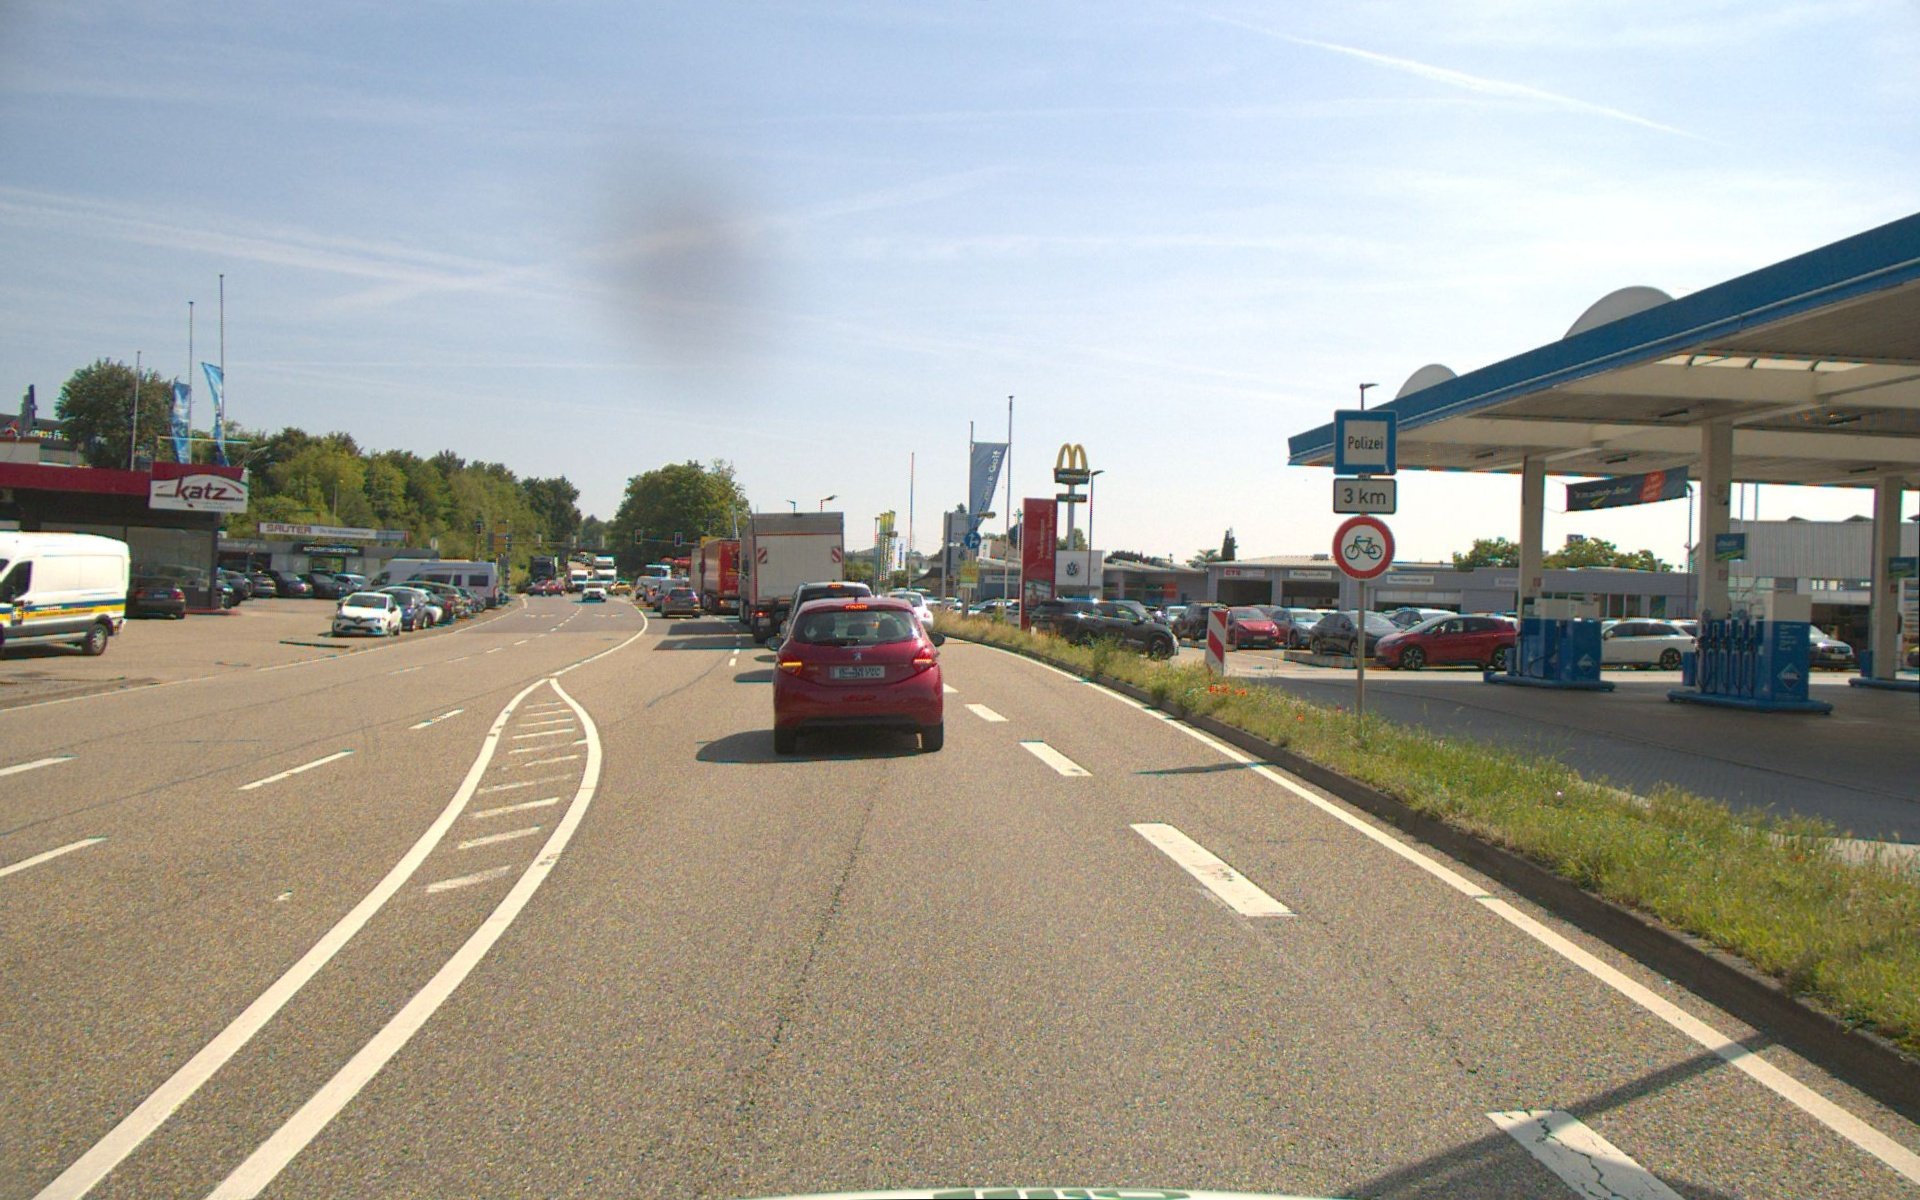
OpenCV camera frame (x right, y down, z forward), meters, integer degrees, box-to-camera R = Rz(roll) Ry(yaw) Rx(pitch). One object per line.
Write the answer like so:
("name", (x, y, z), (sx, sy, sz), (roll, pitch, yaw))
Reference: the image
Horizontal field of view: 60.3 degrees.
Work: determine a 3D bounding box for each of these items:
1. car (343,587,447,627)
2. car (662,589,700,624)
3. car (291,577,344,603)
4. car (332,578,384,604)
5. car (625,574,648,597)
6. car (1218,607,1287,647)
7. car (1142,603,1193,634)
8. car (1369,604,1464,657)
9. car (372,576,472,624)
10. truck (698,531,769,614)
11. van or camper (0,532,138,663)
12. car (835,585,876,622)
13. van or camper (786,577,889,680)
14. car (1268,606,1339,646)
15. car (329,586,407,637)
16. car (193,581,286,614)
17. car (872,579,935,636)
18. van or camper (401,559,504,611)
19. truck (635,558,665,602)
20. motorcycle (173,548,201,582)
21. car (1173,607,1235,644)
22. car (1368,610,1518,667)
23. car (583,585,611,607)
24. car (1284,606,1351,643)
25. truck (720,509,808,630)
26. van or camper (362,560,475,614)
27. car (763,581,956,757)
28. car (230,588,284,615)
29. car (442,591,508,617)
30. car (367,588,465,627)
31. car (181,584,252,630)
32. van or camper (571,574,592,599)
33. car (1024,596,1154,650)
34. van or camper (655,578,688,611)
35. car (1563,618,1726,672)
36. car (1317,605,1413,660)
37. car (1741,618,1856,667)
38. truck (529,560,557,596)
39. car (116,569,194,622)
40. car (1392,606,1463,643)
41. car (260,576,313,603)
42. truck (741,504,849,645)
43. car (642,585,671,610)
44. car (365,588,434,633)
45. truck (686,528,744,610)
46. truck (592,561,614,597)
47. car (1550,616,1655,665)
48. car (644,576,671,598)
("car", (-22.410, 0.258, 65.744), (3.731, 1.552, 1.840), (0, 1, -14))
("car", (-13.604, 0.286, 80.652), (1.757, 1.667, 3.497), (0, 0, -9))
("car", (-40.476, -0.642, 104.158), (1.756, 1.616, 3.766), (0, 1, -45))
("car", (-38.601, -0.593, 105.948), (1.756, 1.616, 3.766), (0, 1, -45))
("car", (-27.544, -1.230, 140.926), (1.695, 1.942, 3.305), (1, 0, -9))
("car", (11.251, 1.029, 63.717), (1.529, 1.434, 3.588), (-1, 0, -9))
("car", (10.160, 0.887, 81.217), (1.529, 1.434, 3.588), (-1, 0, -9))
("car", (14.778, 0.954, 53.767), (1.529, 1.622, 3.853), (-1, 0, -9))
("car", (-22.976, -0.014, 70.751), (3.820, 1.746, 1.800), (4, 0, -14))
("truck", (-13.307, -1.582, 96.041), (2.905, 4.344, 16.535), (1, 1, -12))
("van or camper", (-19.745, -0.113, 34.162), (2.109, 2.542, 5.953), (4, 0, 3))
("car", (-5.262, 0.171, 83.350), (1.954, 1.780, 3.997), (1, 0, -3))
("van or camper", (-2.454, 0.494, 32.125), (1.713, 1.818, 5.125), (1, 0, -7))
("car", (13.276, 0.990, 64.039), (1.529, 1.434, 3.588), (-1, 0, -9))
("car", (-19.893, 0.357, 55.708), (1.746, 1.646, 3.991), (1, 0, -10))
("car", (-34.895, -0.151, 80.114), (3.905, 1.559, 1.747), (0, 1, -35))
("car", (-1.897, 0.253, 54.464), (1.954, 1.780, 3.997), (1, 0, -3))
("van or camper", (-27.835, -0.818, 90.847), (5.151, 2.779, 2.205), (1, 0, -11))
("truck", (-31.884, -2.071, 170.219), (2.903, 4.282, 10.620), (-1, 1, -10))
("motorcycle", (-30.449, -1.363, 65.116), (0.762, 1.283, 2.033), (0, 0, -32))
("car", (10.067, 1.021, 68.395), (1.529, 1.434, 3.588), (-1, 0, -9))
("car", (14.021, 1.105, 48.140), (3.827, 1.599, 1.805), (0, 0, -5))
("car", (-28.545, -0.328, 130.170), (1.899, 1.703, 3.992), (-1, 1, -9))
("car", (14.947, 1.006, 69.300), (1.529, 1.434, 3.682), (-1, 0, -9))
("truck", (-8.217, -1.170, 67.625), (2.837, 4.340, 16.673), (0, 0, -9))
("van or camper", (-30.322, -0.752, 92.809), (5.788, 2.923, 2.283), (1, 1, -12))
("car", (-1.102, 0.630, 17.238), (1.766, 1.599, 3.709), (-1, 0, -6))
("car", (-42.592, 0.070, 100.189), (1.756, 1.616, 3.766), (0, 1, -45))
("car", (-29.513, 0.241, 100.727), (3.750, 1.566, 1.837), (0, 1, -13))
("car", (-22.309, 0.288, 67.932), (3.644, 1.552, 1.786), (0, 1, -14))
("car", (-31.384, 0.307, 69.787), (1.807, 1.704, 4.074), (7, -4, -36))
("van or camper", (-40.981, -1.468, 179.094), (2.135, 2.596, 4.158), (1, 0, -12))
("car", (3.746, 0.644, 47.820), (3.550, 1.434, 1.546), (-1, 0, -33))
("van or camper", (-17.723, -0.358, 101.550), (1.820, 1.939, 3.773), (1, 0, -12))
("car", (20.227, 1.321, 48.927), (4.248, 1.520, 1.560), (1, 0, -9))
("car", (12.713, 0.988, 52.173), (1.584, 1.622, 3.853), (-1, 0, -9))
("car", (27.273, 1.359, 53.921), (1.529, 1.434, 3.588), (-1, 0, -9))
("truck", (-45.550, -2.419, 180.516), (2.767, 3.852, 6.960), (-1, 1, -16))
("car", (-27.706, -0.182, 56.862), (1.837, 1.530, 4.346), (3, 1, -33))
("car", (19.668, 1.016, 69.720), (1.529, 1.434, 3.588), (-1, 0, -9))
("car", (-41.835, -0.672, 102.727), (1.756, 1.616, 3.766), (0, 1, -45))
("truck", (-5.310, -0.754, 51.554), (2.825, 3.877, 11.121), (0, 0, -8))
("car", (-19.891, -0.149, 108.434), (1.697, 1.545, 3.301), (1, 0, -13))
("car", (-21.235, 0.360, 62.783), (1.747, 1.520, 3.773), (5, 0, -10))
("truck", (-17.383, -2.117, 116.395), (3.008, 5.311, 16.957), (1, 1, -12))
("truck", (-44.115, -2.611, 204.638), (2.508, 4.382, 7.573), (-1, 1, -12))
("car", (20.381, 1.261, 52.629), (1.529, 1.434, 3.588), (-1, 0, -9))
("car", (-21.776, -0.927, 119.051), (1.694, 1.545, 3.307), (1, 0, -7))
